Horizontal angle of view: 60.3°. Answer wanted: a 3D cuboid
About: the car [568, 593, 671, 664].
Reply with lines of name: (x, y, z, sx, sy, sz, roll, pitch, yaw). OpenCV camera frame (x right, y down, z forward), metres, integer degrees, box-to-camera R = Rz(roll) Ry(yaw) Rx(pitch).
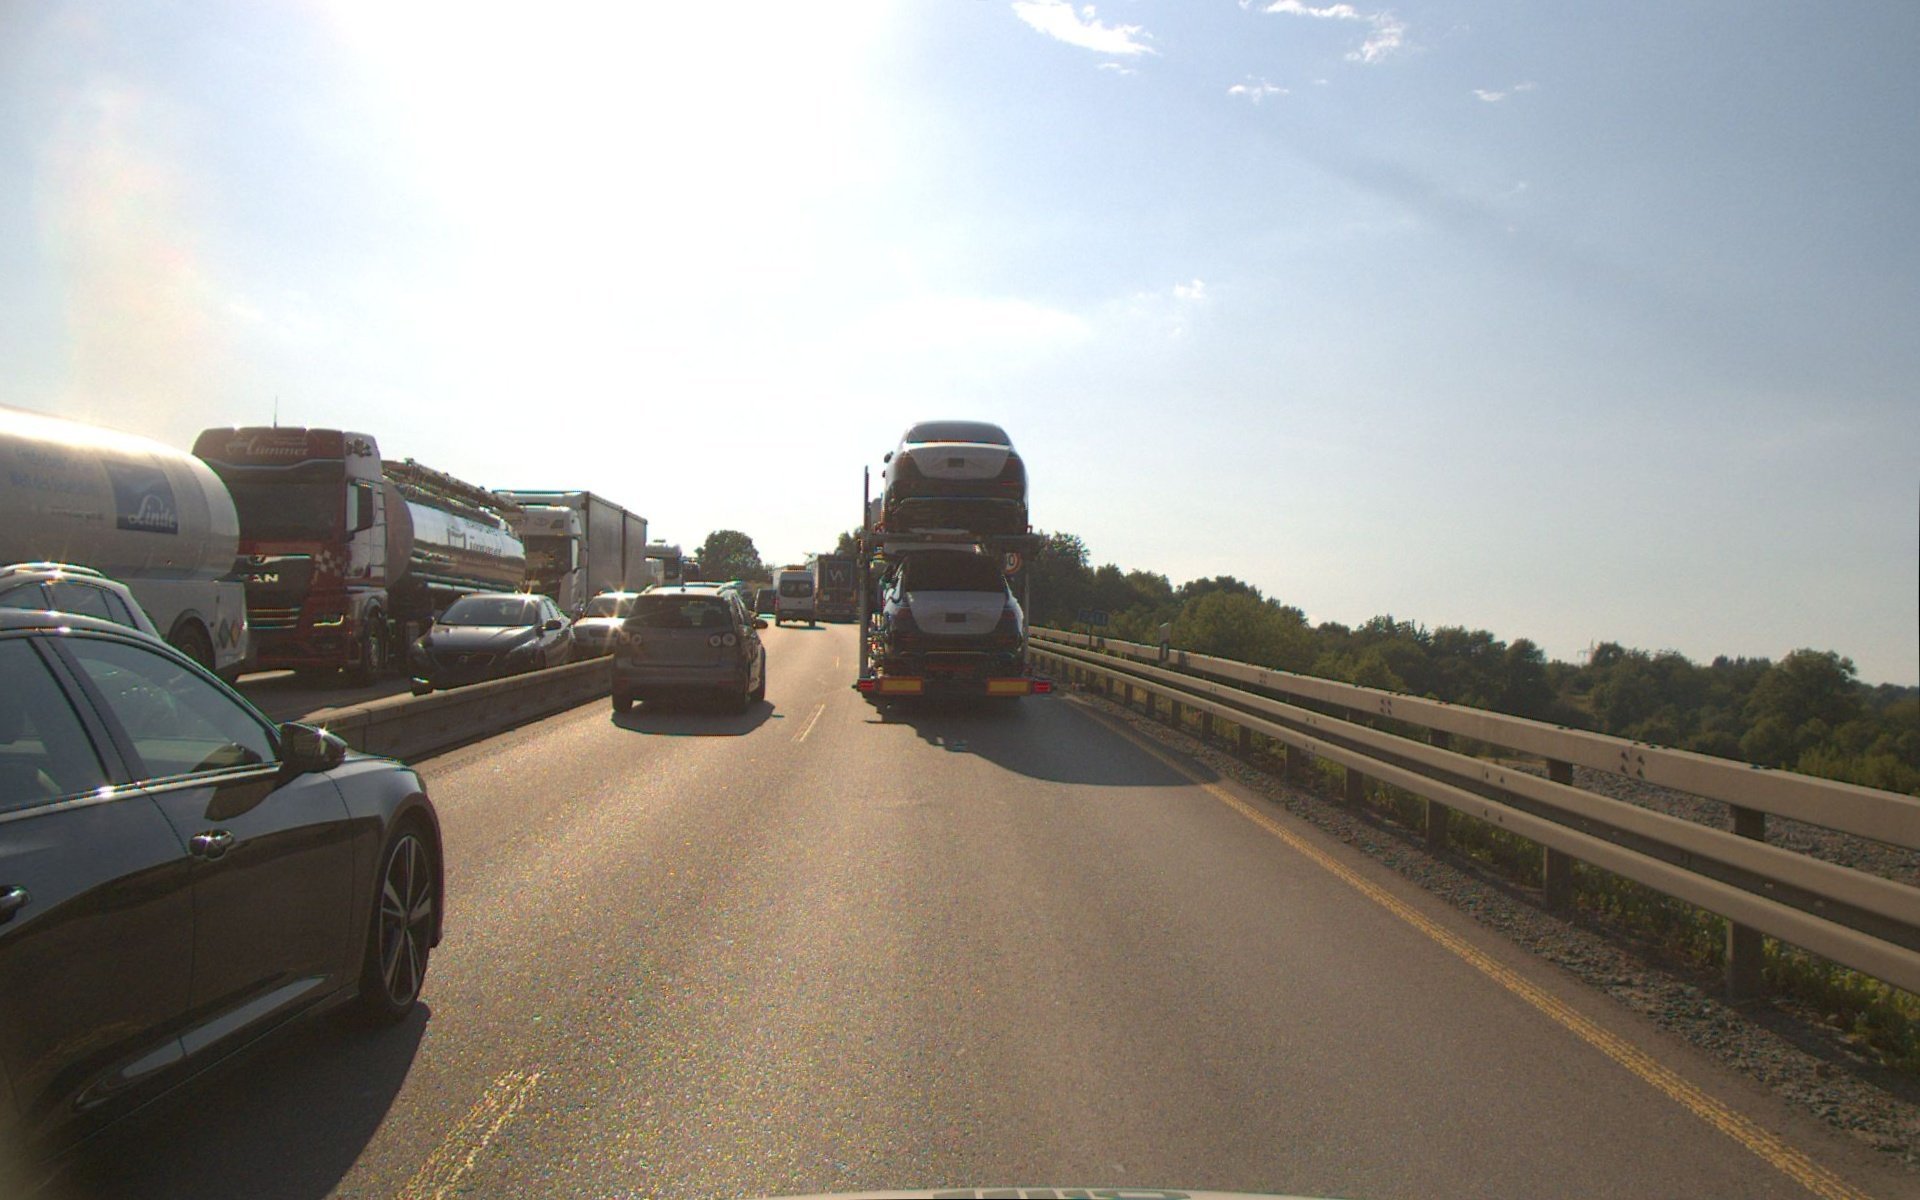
car: (-7.470, 0.600, 36.639, 1.595, 1.451, 4.654, 1, 0, -4)

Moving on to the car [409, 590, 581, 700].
car: (-6.724, 0.613, 24.324, 1.595, 1.451, 4.383, 1, 0, -5)

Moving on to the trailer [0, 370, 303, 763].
trailer: (-9.518, -0.300, 15.395, 2.260, 3.420, 12.048, 1, 0, -2)

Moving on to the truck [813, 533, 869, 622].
truck: (-7.638, -1.337, 105.307, 3.222, 5.328, 9.923, 1, 0, -6)

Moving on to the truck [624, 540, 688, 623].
truck: (-14.644, -0.831, 79.998, 2.551, 3.820, 6.507, 1, 0, -7)

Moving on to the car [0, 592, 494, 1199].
car: (-2.785, 0.706, 3.985, 1.895, 1.423, 4.960, 1, 0, 0)

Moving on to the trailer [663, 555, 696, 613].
trailer: (-21.440, -1.118, 126.490, 2.265, 4.203, 14.567, 1, 0, -10)

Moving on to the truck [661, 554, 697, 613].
truck: (-20.244, -1.146, 119.365, 2.457, 4.137, 5.652, 1, 0, -9)

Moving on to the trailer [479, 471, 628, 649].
trailer: (-11.221, -0.969, 46.608, 2.428, 4.404, 10.499, 1, 0, -5)

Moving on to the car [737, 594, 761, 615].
car: (-18.302, 0.391, 143.738, 1.790, 1.803, 3.997, 1, 0, -4)

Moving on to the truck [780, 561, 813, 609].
truck: (-13.338, -1.175, 135.578, 2.481, 3.712, 8.897, 1, 0, -4)

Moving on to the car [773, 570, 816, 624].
car: (-8.122, -0.143, 81.327, 1.883, 2.536, 5.404, 1, 0, -4)

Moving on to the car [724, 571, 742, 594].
car: (-21.764, -1.670, 158.549, 1.600, 2.049, 3.991, 1, 0, -10)

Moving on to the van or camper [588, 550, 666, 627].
van or camper: (-13.495, -0.431, 67.482, 2.362, 2.942, 7.608, 1, 0, -6)

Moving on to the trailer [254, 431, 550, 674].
trailer: (-10.402, -0.723, 32.455, 2.261, 3.856, 12.045, 1, 0, -3)

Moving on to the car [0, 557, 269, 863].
car: (-6.047, 0.579, 10.657, 1.716, 1.614, 3.940, 1, 0, -4)

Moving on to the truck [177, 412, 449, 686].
truck: (-10.062, -0.703, 26.328, 2.384, 3.851, 5.612, 1, 0, -4)

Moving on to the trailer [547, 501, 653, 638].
trailer: (-12.060, -0.927, 56.079, 2.395, 4.262, 8.534, 1, 0, -5)

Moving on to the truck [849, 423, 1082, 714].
truck: (-0.280, -0.355, 25.740, 2.744, 3.558, 10.595, 1, 0, -4)

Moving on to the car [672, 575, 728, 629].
car: (-9.875, 0.093, 63.060, 1.781, 1.959, 4.830, 1, 0, -5)

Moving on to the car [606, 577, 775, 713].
car: (-3.494, 0.559, 22.066, 1.657, 1.624, 3.999, 1, 0, -1)

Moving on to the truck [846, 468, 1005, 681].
truck: (-0.973, -0.434, 35.185, 2.782, 3.858, 9.977, 1, 0, -4)

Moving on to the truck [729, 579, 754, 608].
truck: (-24.579, -0.711, 186.379, 2.541, 3.226, 6.668, 1, 0, -6)
